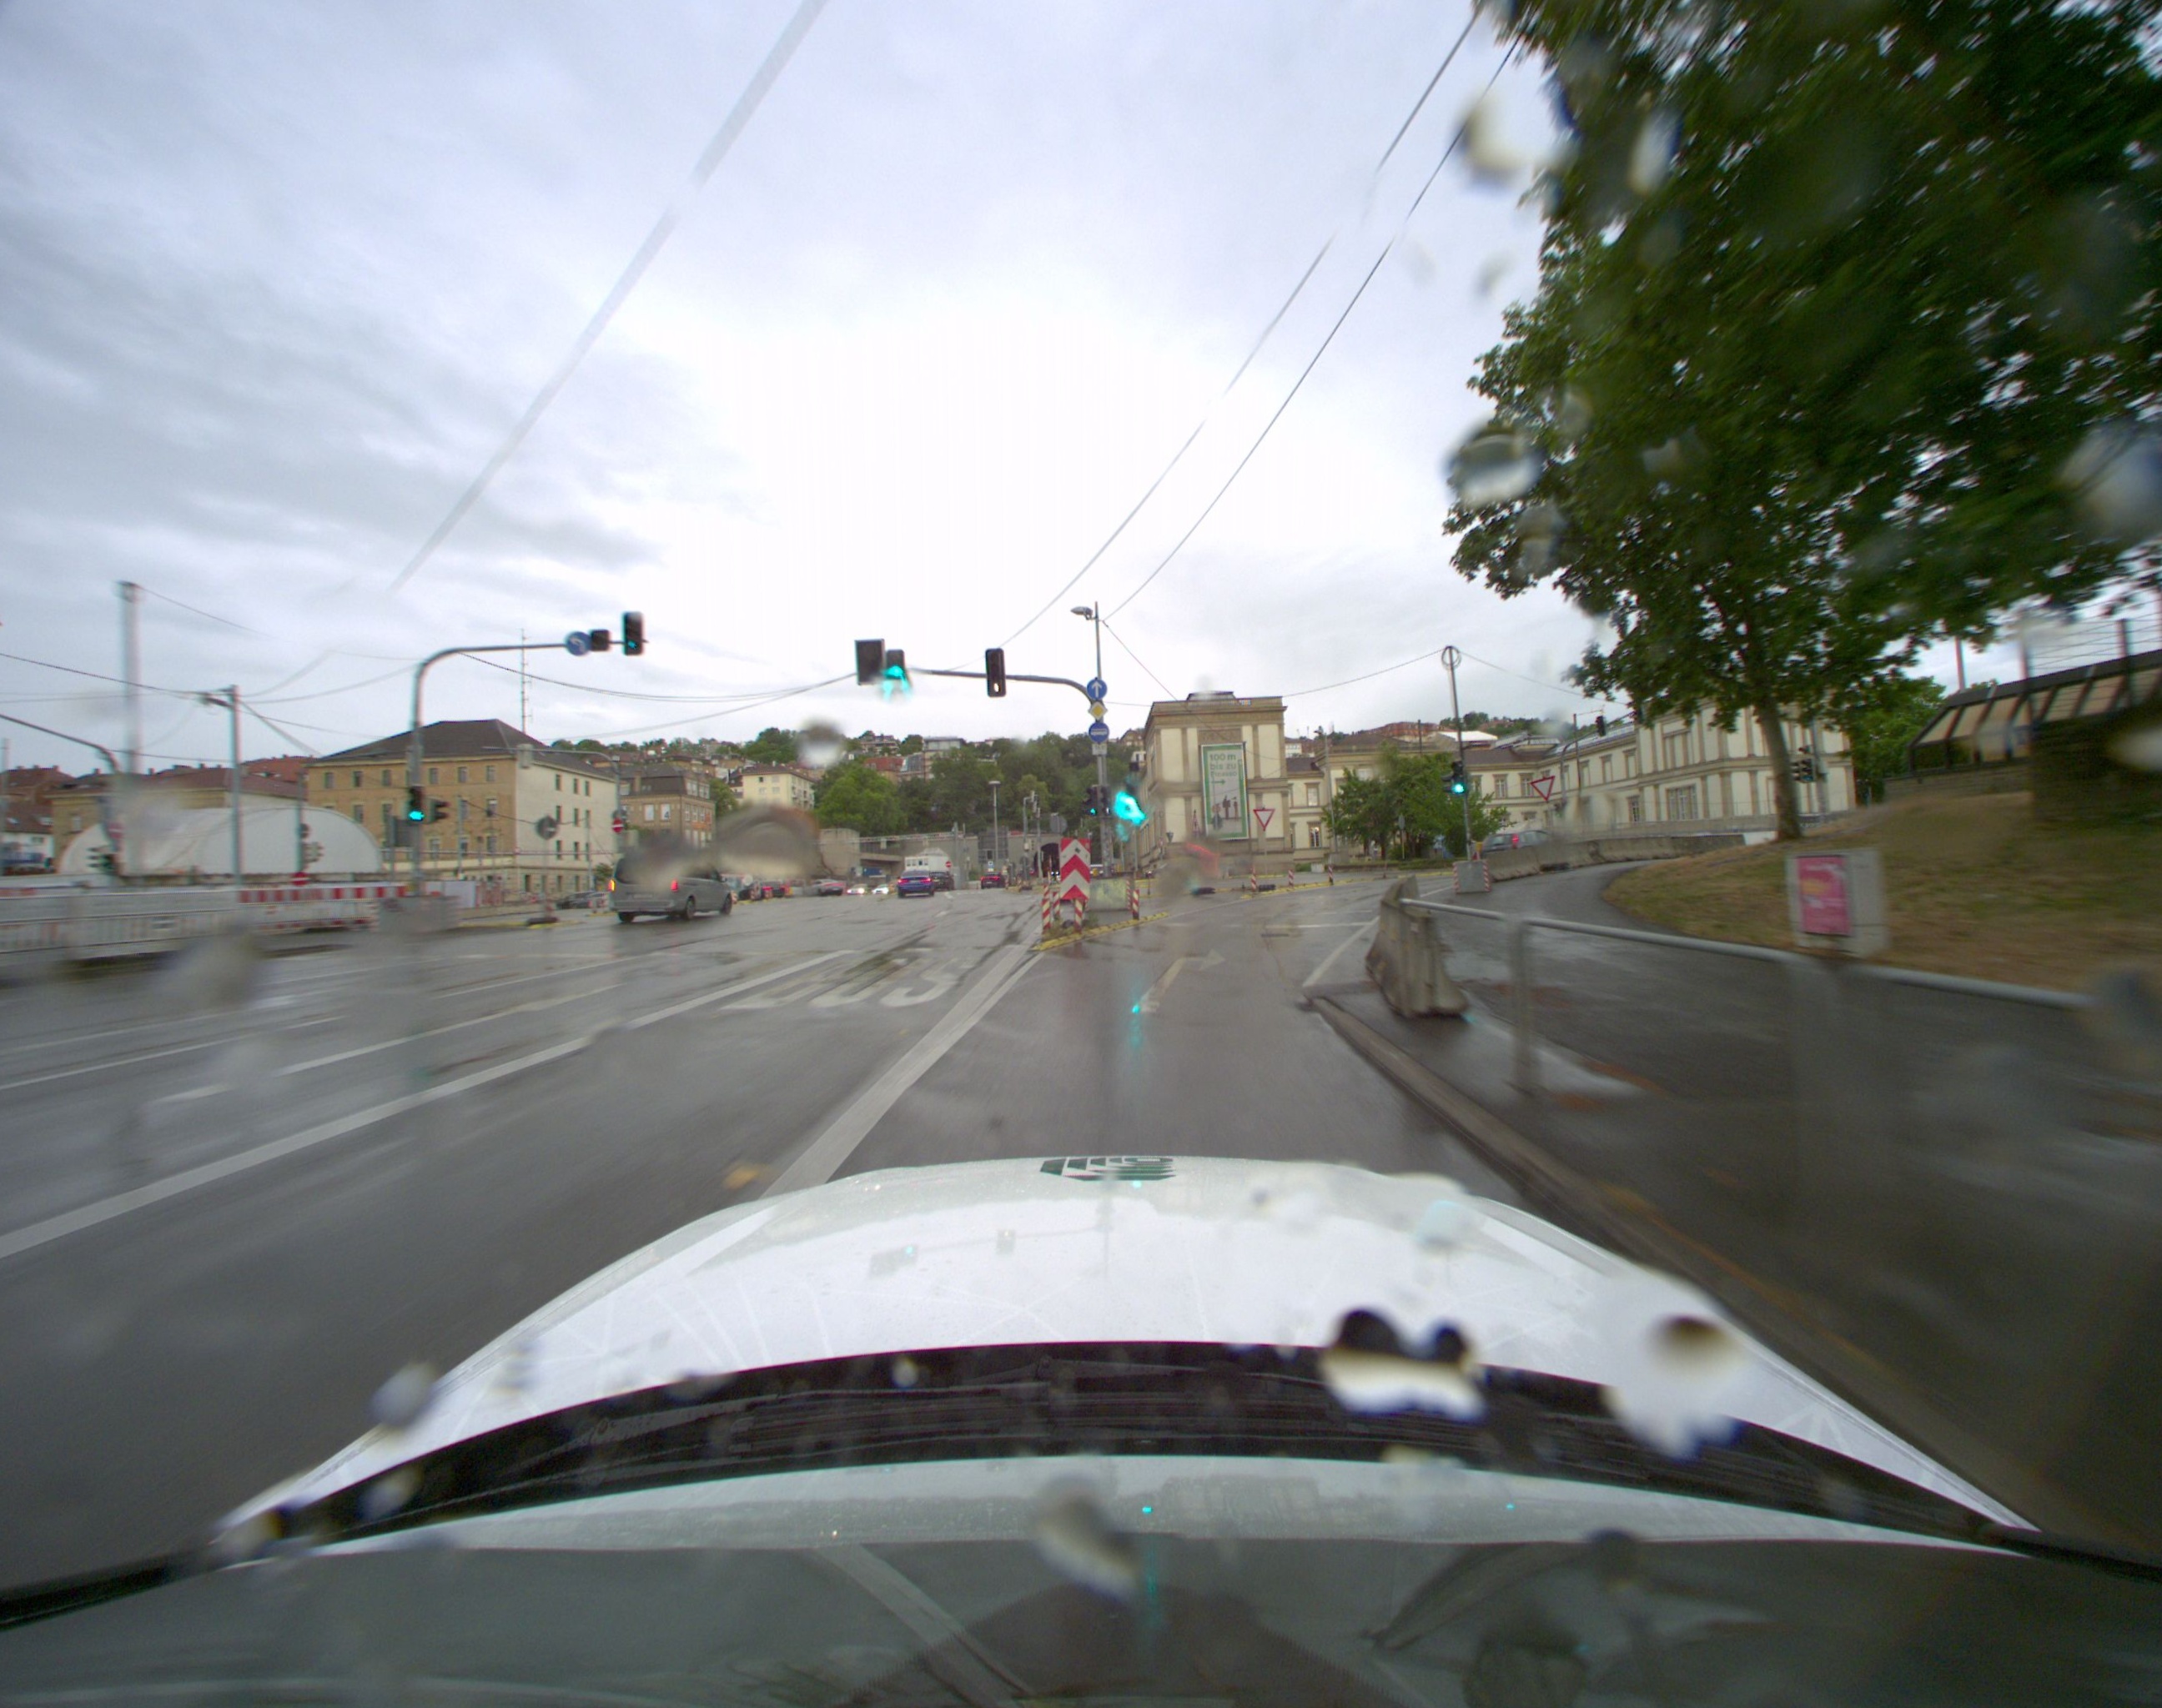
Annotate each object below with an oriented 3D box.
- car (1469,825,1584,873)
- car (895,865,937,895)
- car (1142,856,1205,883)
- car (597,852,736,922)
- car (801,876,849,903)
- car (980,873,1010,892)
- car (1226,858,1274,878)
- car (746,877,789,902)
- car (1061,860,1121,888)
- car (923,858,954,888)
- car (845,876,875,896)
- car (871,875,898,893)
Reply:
[{"bbox_3d":[15.608,-0.184,28.531,3.766,1.427,1.661,-3,1,-27],"label":"car"},{"bbox_3d":[-8.755,1.339,43.006,1.996,1.438,3.982,-2,-1,-13],"label":"car"},{"bbox_3d":[7.332,1.211,64.658,4.664,2.013,1.998,-2,0,-3],"label":"car"},{"bbox_3d":[-12.208,0.923,24.381,1.990,1.839,4.676,-2,-1,-4],"label":"car"},{"bbox_3d":[-21.028,2.882,66.855,2.012,2.013,4.241,-2,0,-44],"label":"car"},{"bbox_3d":[-8.121,2.693,77.092,1.983,1.634,4.007,-1,0,7],"label":"car"},{"bbox_3d":[16.047,1.314,77.504,4.165,1.701,1.823,-2,0,1],"label":"car"},{"bbox_3d":[-23.924,2.655,62.112,1.791,1.750,3.953,-2,0,-40],"label":"car"},{"bbox_3d":[0.760,1.568,64.154,4.616,2.013,1.998,-2,0,-3],"label":"car"},{"bbox_3d":[-10.208,1.352,58.567,1.992,2.013,3.990,-2,0,-7],"label":"car"},{"bbox_3d":[-24.944,3.554,92.095,1.984,2.013,4.006,-2,0,5],"label":"car"},{"bbox_3d":[-24.129,3.632,100.157,1.984,2.013,4.006,-2,0,5],"label":"car"}]
